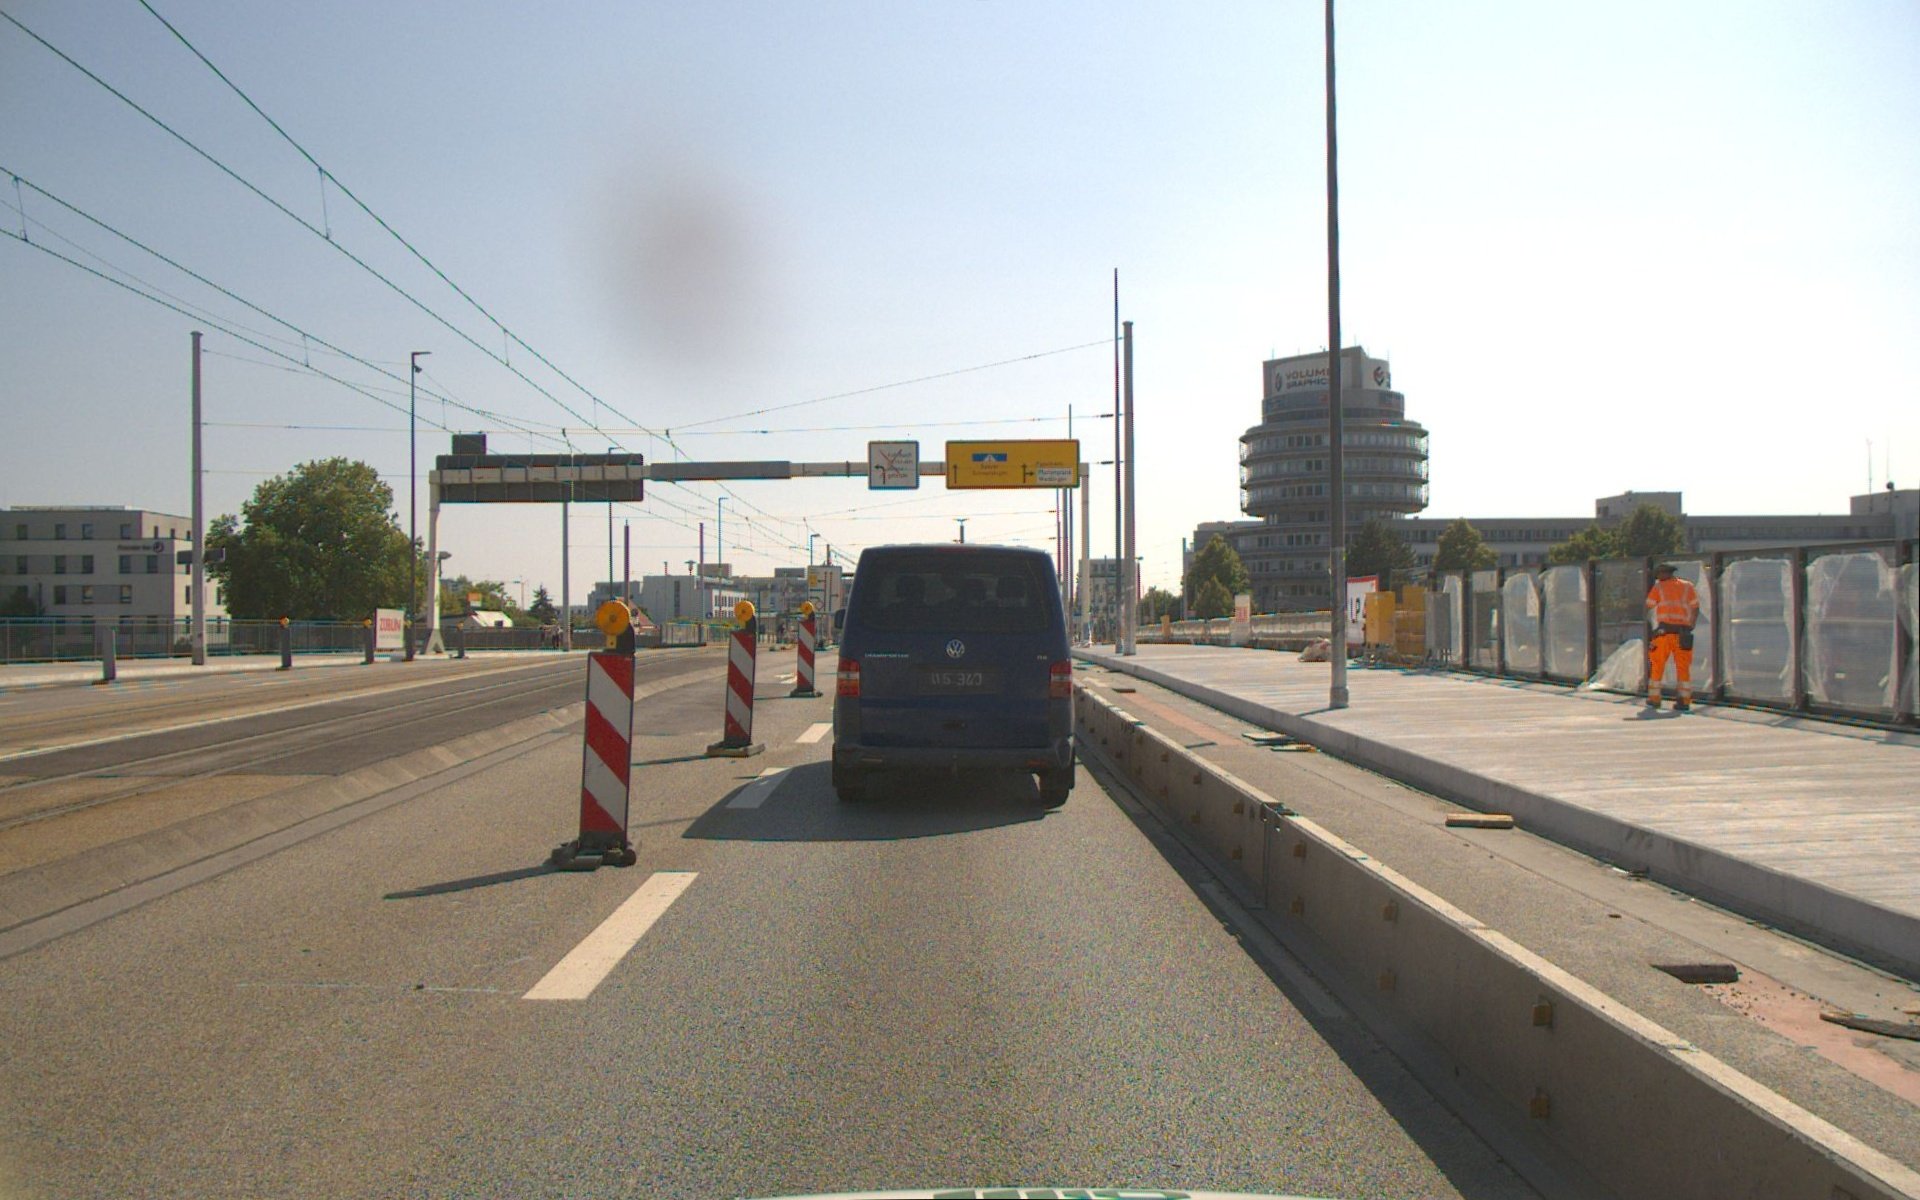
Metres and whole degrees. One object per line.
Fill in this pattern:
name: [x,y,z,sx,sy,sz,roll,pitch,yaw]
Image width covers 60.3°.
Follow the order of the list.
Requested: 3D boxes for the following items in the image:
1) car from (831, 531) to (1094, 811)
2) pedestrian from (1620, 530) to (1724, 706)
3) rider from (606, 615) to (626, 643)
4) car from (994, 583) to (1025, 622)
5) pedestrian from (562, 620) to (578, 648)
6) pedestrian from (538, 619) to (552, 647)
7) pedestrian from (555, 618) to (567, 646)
car: [-0.002,0.537,13.852,1.849,1.968,3.999,1,-1,-1]
pedestrian: [8.370,0.210,19.478,0.716,1.999,1.016,-2,-1,0]
rider: [-22.528,1.879,108.351,0.748,1.763,2.950,0,-1,-1]
car: [3.836,0.236,128.312,2.290,2.938,5.970,1,-1,1]
pedestrian: [-24.482,2.146,103.821,0.737,1.717,0.732,-1,-1,3]
pedestrian: [-25.323,2.003,100.876,0.585,1.717,0.818,-1,-1,3]
pedestrian: [-24.422,1.946,101.280,0.476,1.717,0.808,-1,-1,3]
